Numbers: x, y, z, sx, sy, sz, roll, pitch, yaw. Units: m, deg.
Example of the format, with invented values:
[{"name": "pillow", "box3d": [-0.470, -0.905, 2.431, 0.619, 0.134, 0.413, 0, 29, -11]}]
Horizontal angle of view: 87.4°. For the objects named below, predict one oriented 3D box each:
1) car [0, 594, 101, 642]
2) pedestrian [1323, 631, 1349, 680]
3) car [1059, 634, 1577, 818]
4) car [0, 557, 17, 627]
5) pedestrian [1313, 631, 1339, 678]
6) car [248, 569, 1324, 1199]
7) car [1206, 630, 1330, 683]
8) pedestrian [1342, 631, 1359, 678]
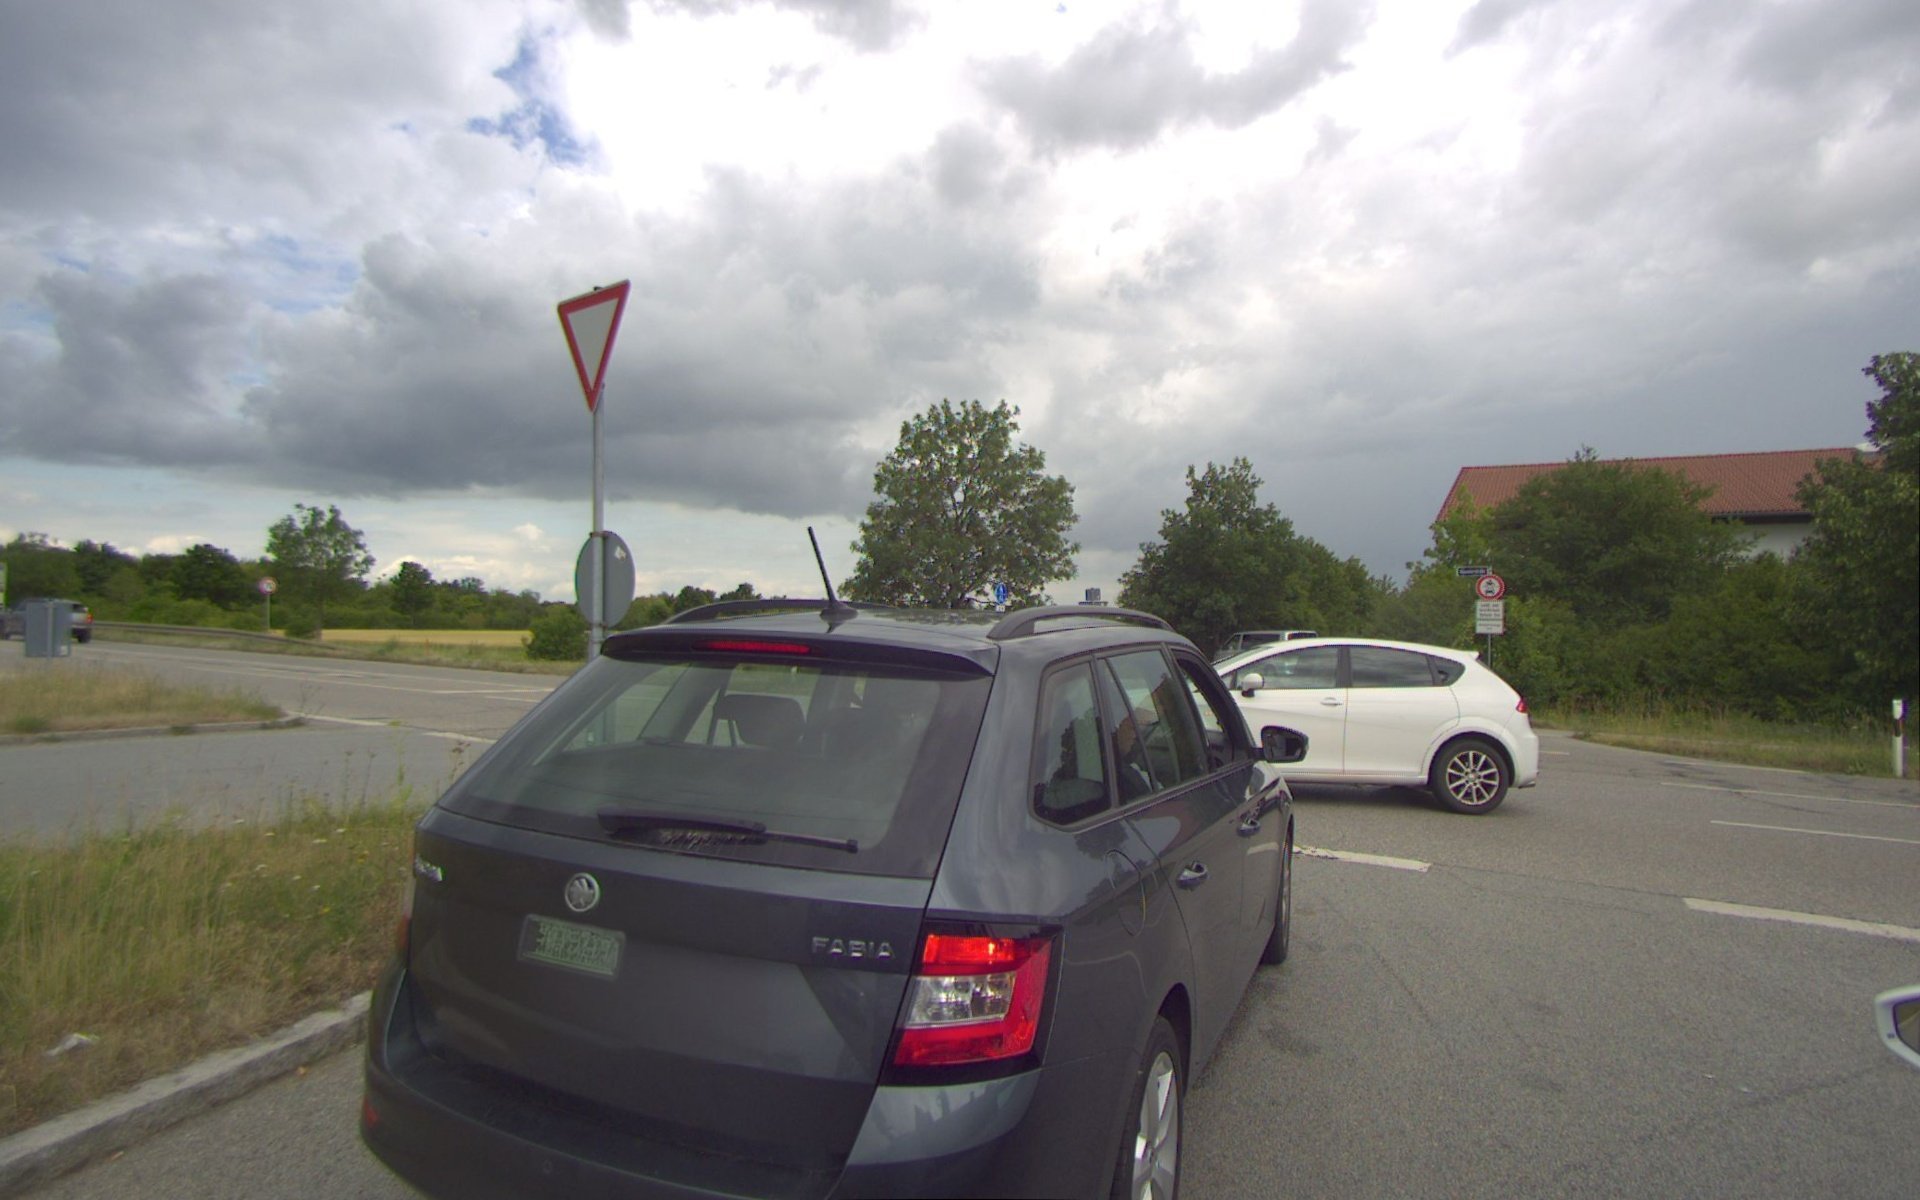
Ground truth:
[{"name": "car", "box3d": [-34.870, 0.686, 38.156, 4.184, 1.644, 1.997, 0, -4, 29]}, {"name": "pedestrian", "box3d": [13.754, 2.017, 36.720, 0.714, 1.746, 0.790, 0, -1, 34]}, {"name": "car", "box3d": [3.067, 1.091, 9.390, 4.225, 1.426, 1.822, 1, -3, 6]}, {"name": "car", "box3d": [-45.821, -0.414, 45.751, 6.442, 3.068, 2.337, 0, -4, 31]}, {"name": "pedestrian", "box3d": [13.832, 2.035, 37.961, 0.692, 1.746, 0.730, 0, -2, 38]}, {"name": "car", "box3d": [0.210, 0.753, 3.519, 1.686, 1.466, 4.115, 2, -1, 24]}, {"name": "car", "box3d": [11.827, 2.123, 39.046, 2.080, 1.911, 5.081, 1, -2, -18]}, {"name": "pedestrian", "box3d": [14.819, 2.048, 38.102, 0.483, 1.769, 0.641, 0, -1, 34]}]
